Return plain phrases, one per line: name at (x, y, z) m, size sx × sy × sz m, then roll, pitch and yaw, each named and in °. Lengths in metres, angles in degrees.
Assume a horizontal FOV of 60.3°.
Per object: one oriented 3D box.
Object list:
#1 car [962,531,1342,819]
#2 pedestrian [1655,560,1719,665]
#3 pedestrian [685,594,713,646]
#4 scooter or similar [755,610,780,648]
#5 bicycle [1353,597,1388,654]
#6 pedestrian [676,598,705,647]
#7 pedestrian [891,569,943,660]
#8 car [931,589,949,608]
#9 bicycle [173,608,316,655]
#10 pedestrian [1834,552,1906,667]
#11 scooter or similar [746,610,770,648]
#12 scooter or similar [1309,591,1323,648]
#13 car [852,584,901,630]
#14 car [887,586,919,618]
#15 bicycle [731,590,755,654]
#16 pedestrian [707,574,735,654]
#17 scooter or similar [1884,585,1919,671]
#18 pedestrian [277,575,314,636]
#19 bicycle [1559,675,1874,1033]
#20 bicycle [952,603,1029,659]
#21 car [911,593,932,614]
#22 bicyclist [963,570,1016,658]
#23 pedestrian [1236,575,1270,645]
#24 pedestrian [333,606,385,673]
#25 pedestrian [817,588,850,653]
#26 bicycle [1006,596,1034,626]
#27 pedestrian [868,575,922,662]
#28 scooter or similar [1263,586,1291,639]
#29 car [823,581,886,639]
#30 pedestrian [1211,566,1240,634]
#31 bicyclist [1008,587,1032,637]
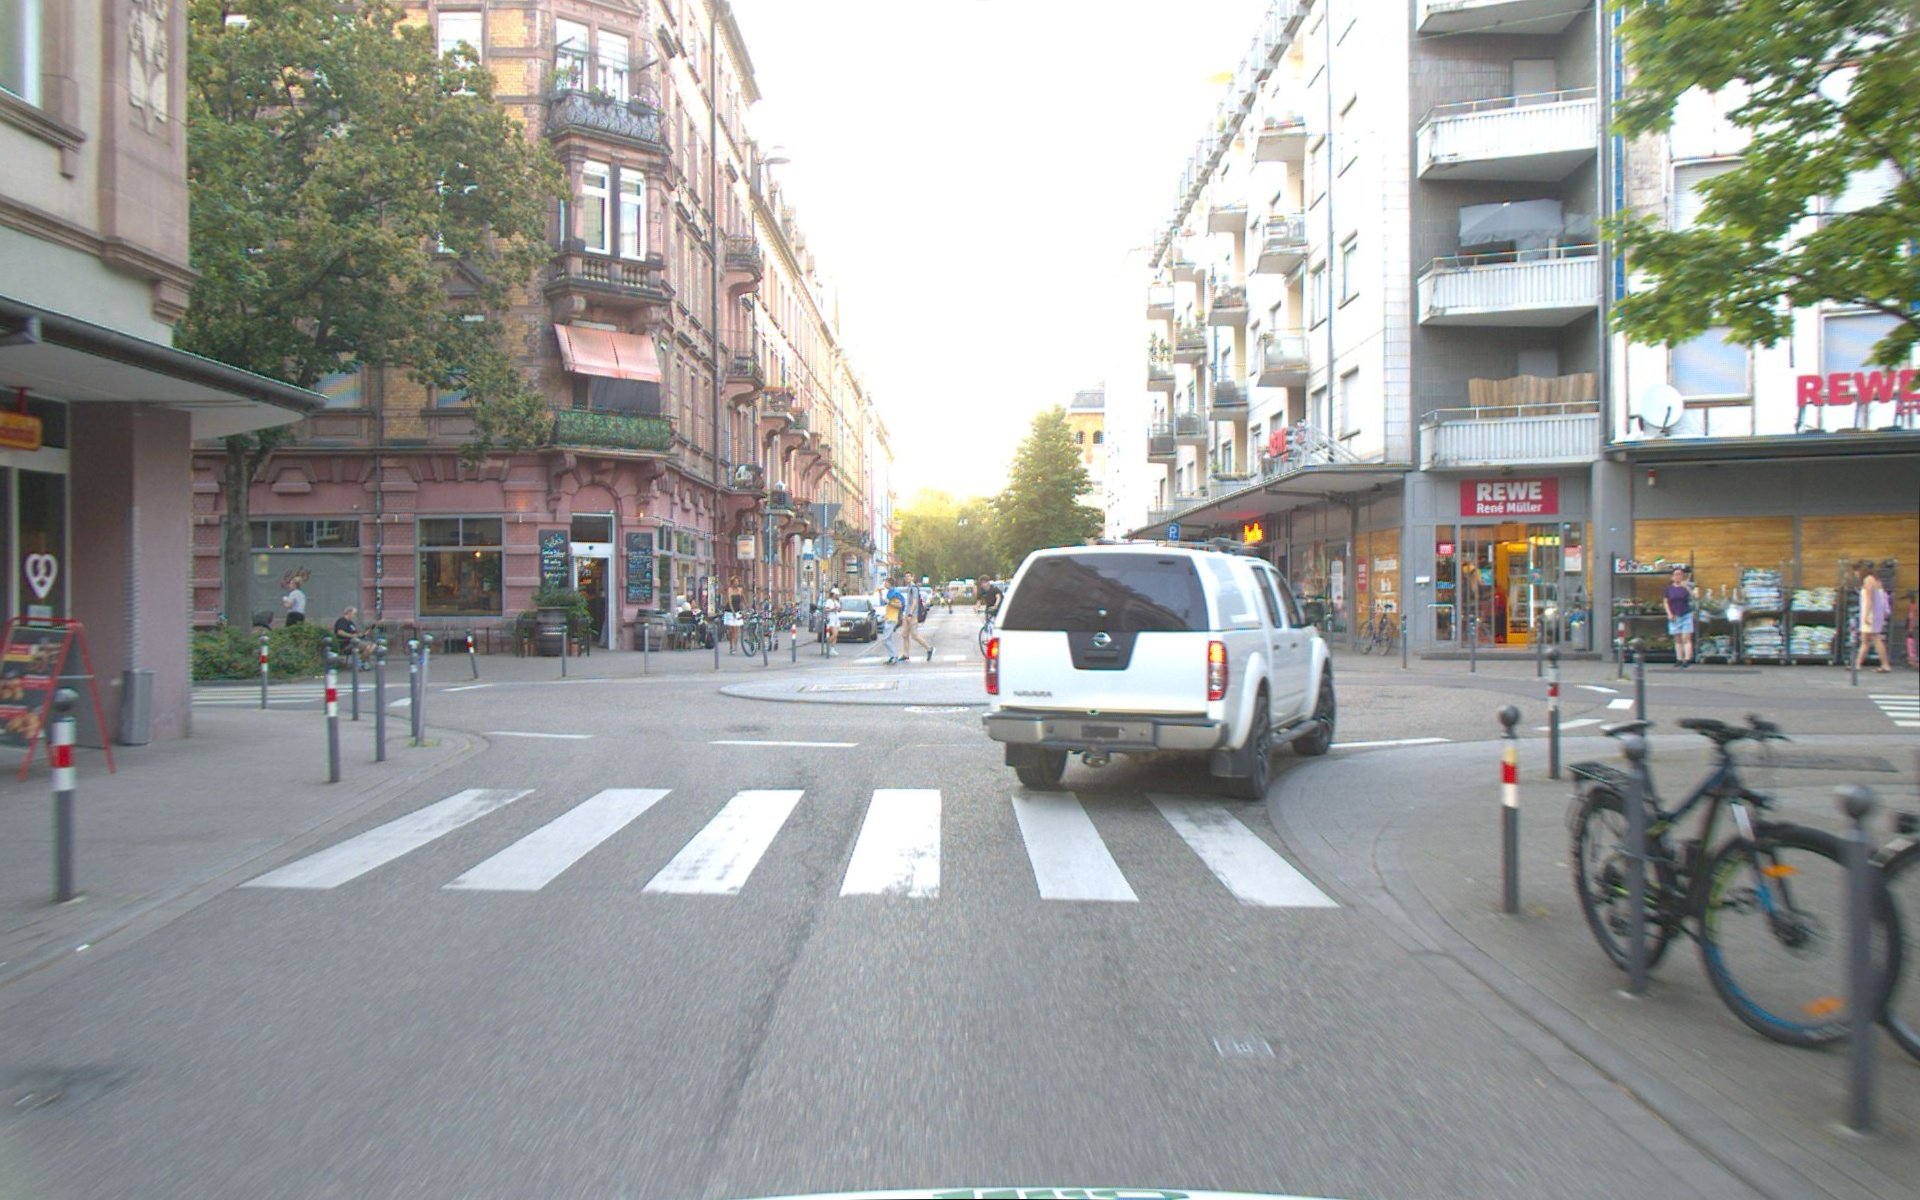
car at (1.767, 0.412, 13.238) m, size 1.898 × 1.841 × 5.002 m, roll 1°, pitch 1°, yaw 20°
pedestrian at (11.867, 0.204, 26.994) m, size 0.707 × 1.680 × 0.707 m, roll 2°, pitch -1°, yaw -41°
pedestrian at (-6.691, 0.511, 42.393) m, size 0.636 × 1.308 × 0.539 m, roll 1°, pitch -1°, yaw -4°
scooter or similar at (-4.948, 0.731, 42.513) m, size 0.230 × 0.945 × 1.256 m, roll 1°, pitch 0°, yaw -25°
bicycle at (8.368, 0.512, 33.725) m, size 0.284 × 1.132 × 0.963 m, roll 1°, pitch -1°, yaw -12°
pedestrian at (-6.722, 0.552, 41.206) m, size 0.636 × 1.211 × 0.539 m, roll 1°, pitch -1°, yaw -4°
pedestrian at (-0.914, 0.307, 35.102) m, size 0.894 × 1.918 × 0.609 m, roll 1°, pitch -1°, yaw -31°
car at (-1.969, -0.135, 164.214) m, size 1.797 × 1.780 × 3.999 m, roll 1°, pitch 0°, yaw -1°
bicycle at (-15.806, 0.702, 36.574) m, size 2.837 × 0.975 × 0.625 m, roll 1°, pitch -1°, yaw -1°
pedestrian at (14.136, 0.150, 25.702) m, size 0.707 × 1.756 × 0.664 m, roll 1°, pitch -1°, yaw -13°
scooter or similar at (-5.180, 0.726, 42.397) m, size 0.230 × 0.945 × 1.256 m, roll 1°, pitch 0°, yaw -25°
scooter or similar at (8.151, 0.440, 37.870) m, size 0.214 × 1.259 × 0.967 m, roll 1°, pitch 1°, yaw 7°
car at (-3.369, 0.283, 67.389) m, size 1.797 × 1.780 × 4.162 m, roll 1°, pitch 0°, yaw -1°
car at (-3.399, 0.128, 98.682) m, size 1.797 × 1.780 × 3.999 m, roll 1°, pitch 0°, yaw -1°
bicycle at (-5.096, 0.503, 38.908) m, size 0.415 × 1.468 × 1.903 m, roll 1°, pitch 0°, yaw -4°
pedestrian at (-5.636, 0.334, 39.008) m, size 0.497 × 1.872 × 0.569 m, roll 1°, pitch -1°, yaw -23°
scooter or similar at (14.926, 0.429, 26.043) m, size 0.314 × 1.288 × 1.290 m, roll 1°, pitch 1°, yaw 14°
pedestrian at (-14.205, 0.121, 35.351) m, size 0.446 × 1.284 × 0.575 m, roll 1°, pitch -1°, yaw 24°
bicycle at (2.716, 0.854, 6.096) m, size 0.357 × 1.082 × 1.551 m, roll 1°, pitch 0°, yaw -4°
bicycle at (0.683, 0.671, 36.600) m, size 0.823 × 1.192 × 1.931 m, roll 1°, pitch -1°, yaw 32°
car at (-3.406, 0.345, 146.324) m, size 1.797 × 1.780 × 3.999 m, roll 1°, pitch 0°, yaw -1°
bicyclist at (0.655, 0.312, 36.540) m, size 0.823 × 1.909 × 0.876 m, roll 1°, pitch -1°, yaw 32°
pedestrian at (7.202, 0.241, 40.639) m, size 0.705 × 1.692 × 0.703 m, roll 1°, pitch -1°, yaw 2°
pedestrian at (-11.767, 0.771, 32.390) m, size 0.738 × 1.284 × 0.668 m, roll 1°, pitch -1°, yaw -1°
pedestrian at (-3.269, 0.523, 42.730) m, size 0.782 × 1.649 × 0.944 m, roll 1°, pitch -1°, yaw -2°
bicycle at (2.418, 0.455, 66.603) m, size 0.820 × 1.192 × 1.937 m, roll 1°, pitch 0°, yaw 10°
pedestrian at (-1.337, 0.380, 33.783) m, size 0.896 × 1.767 × 0.608 m, roll 1°, pitch -1°, yaw -35°
scooter or similar at (8.008, 0.322, 41.804) m, size 0.430 × 1.313 × 1.668 m, roll 1°, pitch 0°, yaw 2°
car at (-3.366, 0.314, 53.333) m, size 1.797 × 1.780 × 3.999 m, roll 1°, pitch 0°, yaw -1°
pedestrian at (7.688, 0.000, 47.892) m, size 0.705 × 1.940 × 0.702 m, roll 1°, pitch -1°, yaw 0°
bicyclist at (2.415, 0.470, 66.590) m, size 0.820 × 1.978 × 0.785 m, roll 1°, pitch -1°, yaw 11°
